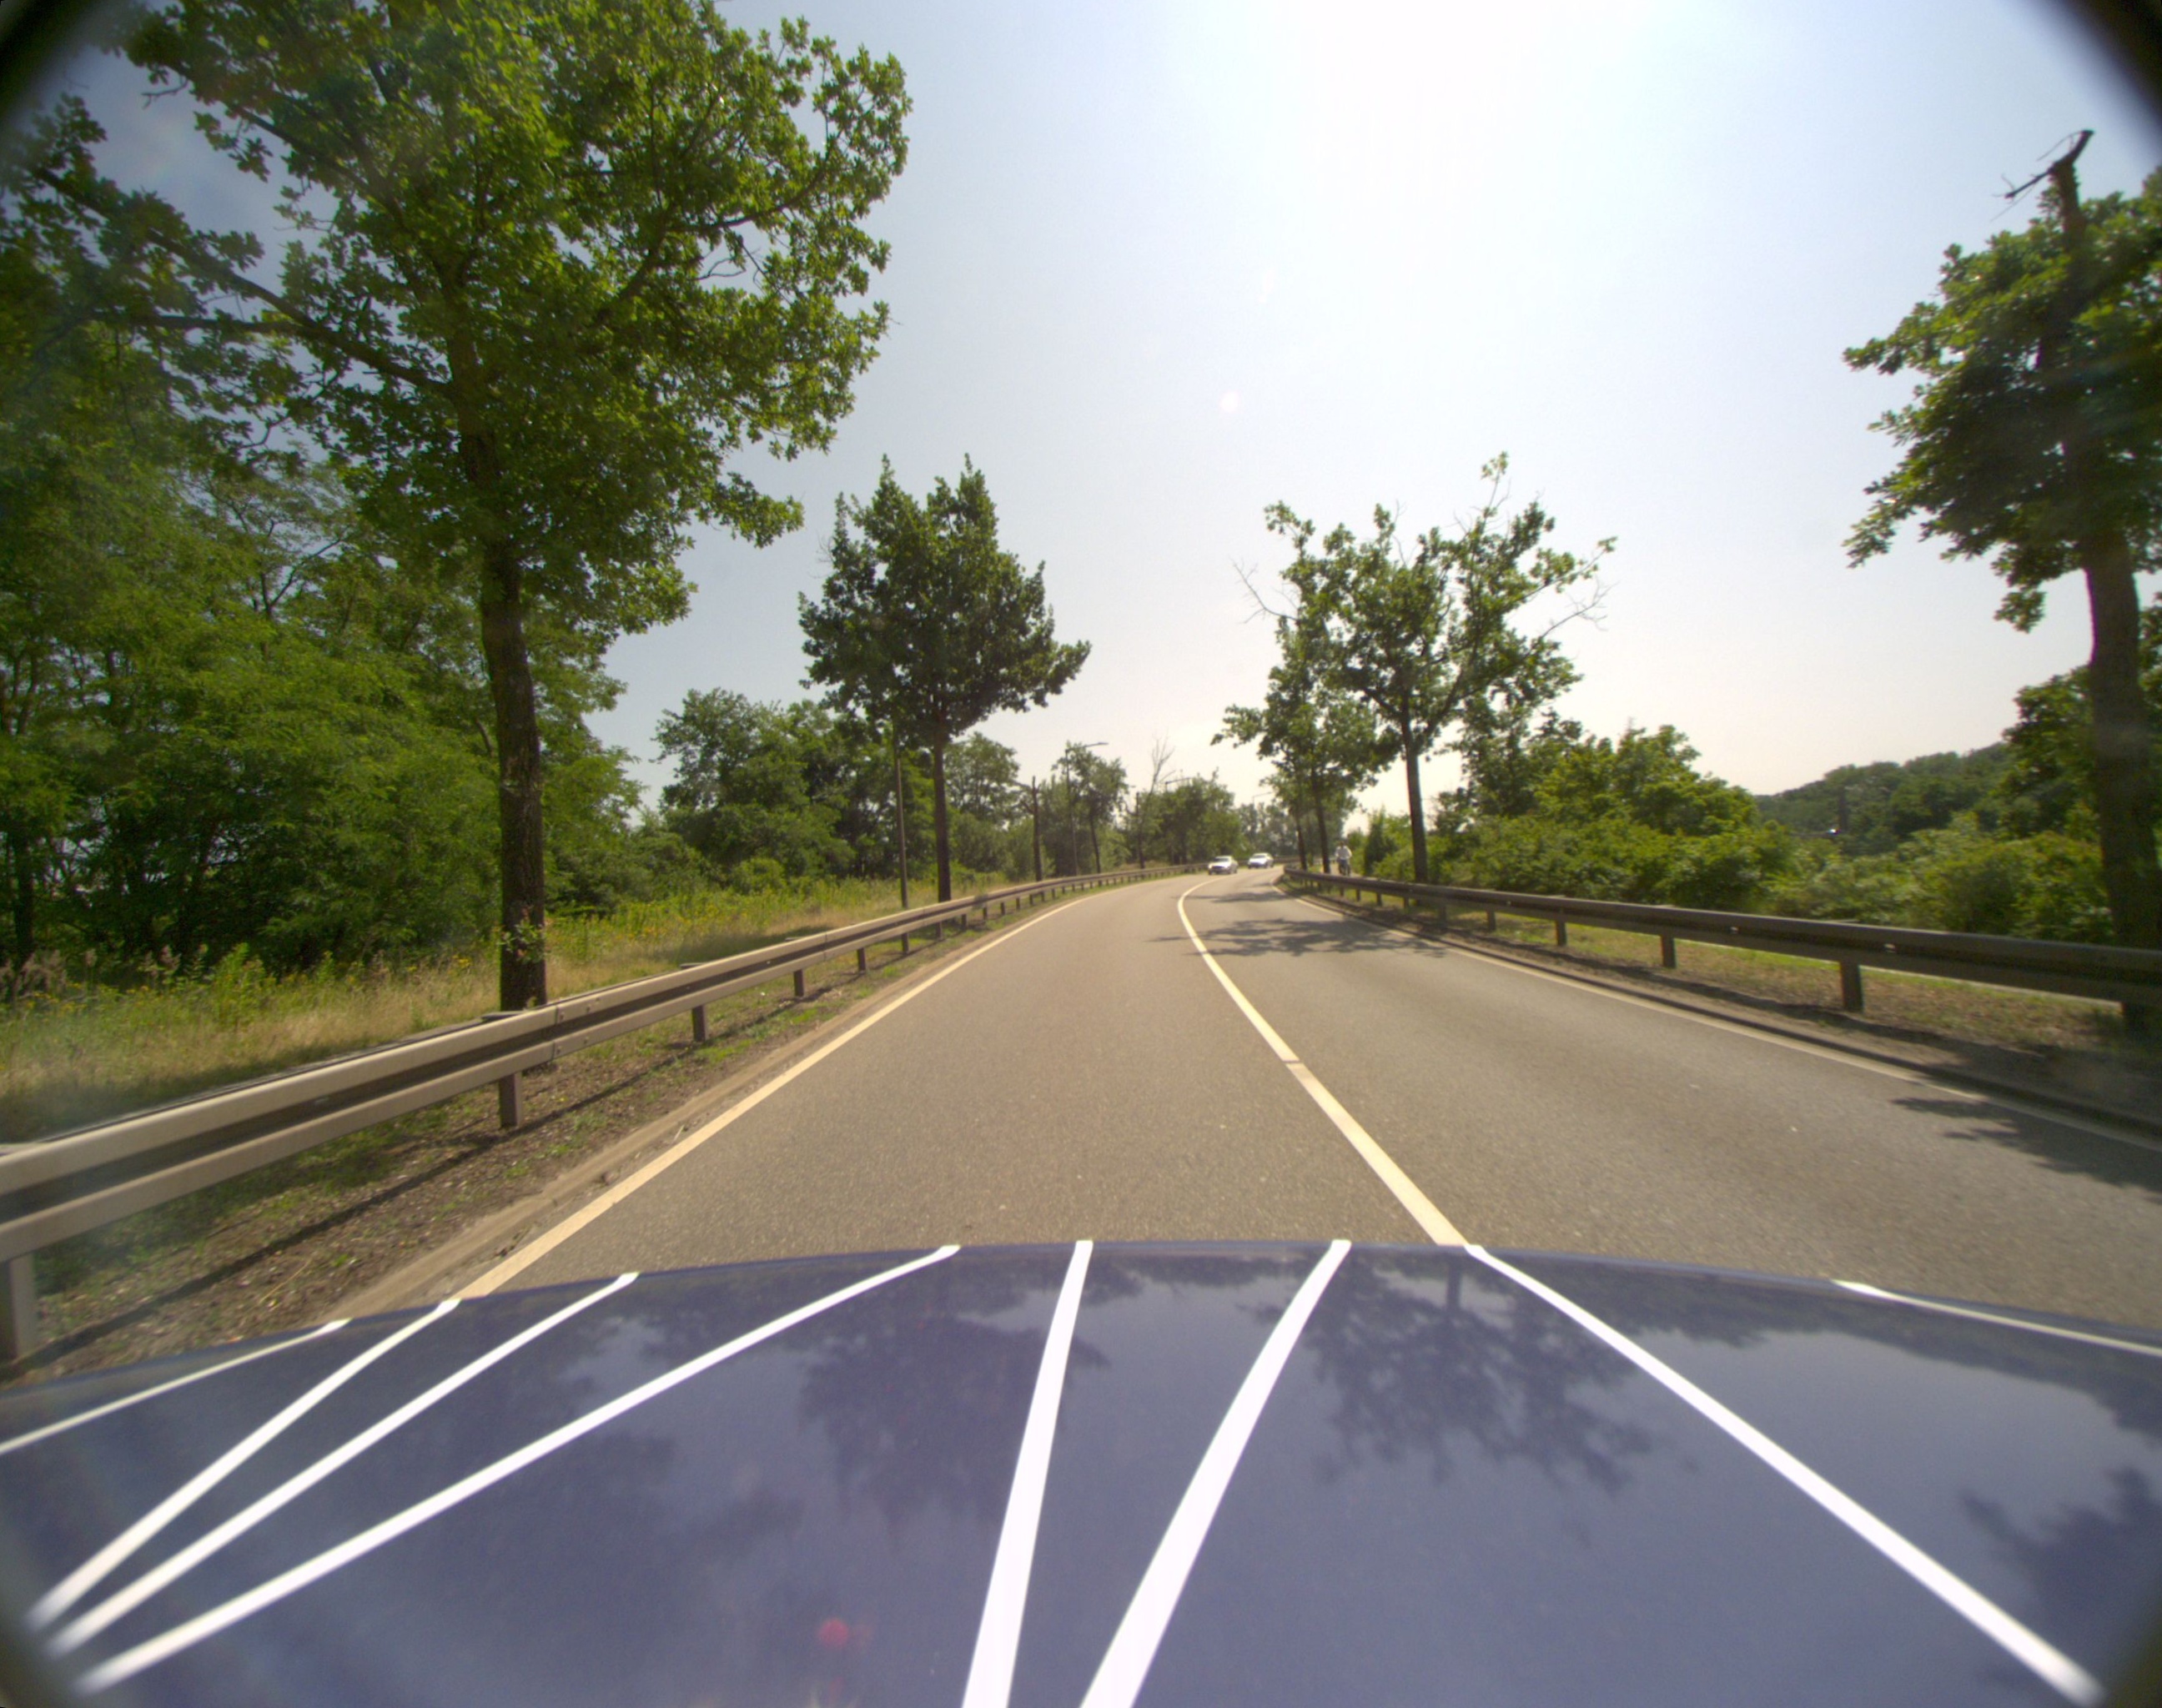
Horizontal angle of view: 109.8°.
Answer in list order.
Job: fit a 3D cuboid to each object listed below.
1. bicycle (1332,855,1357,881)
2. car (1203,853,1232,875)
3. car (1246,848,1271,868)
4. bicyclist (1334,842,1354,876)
[{"bbox_3d":[11.540,0.604,33.352,0.735,1.110,2.047,0,1,11],"label":"bicycle"},{"bbox_3d":[10.824,0.746,60.029,1.761,1.490,4.237,-3,1,16],"label":"car"},{"bbox_3d":[17.395,0.325,74.366,1.796,1.772,4.299,-3,0,20],"label":"car"},{"bbox_3d":[11.524,0.205,33.296,0.730,1.457,0.825,0,1,12],"label":"bicyclist"}]
